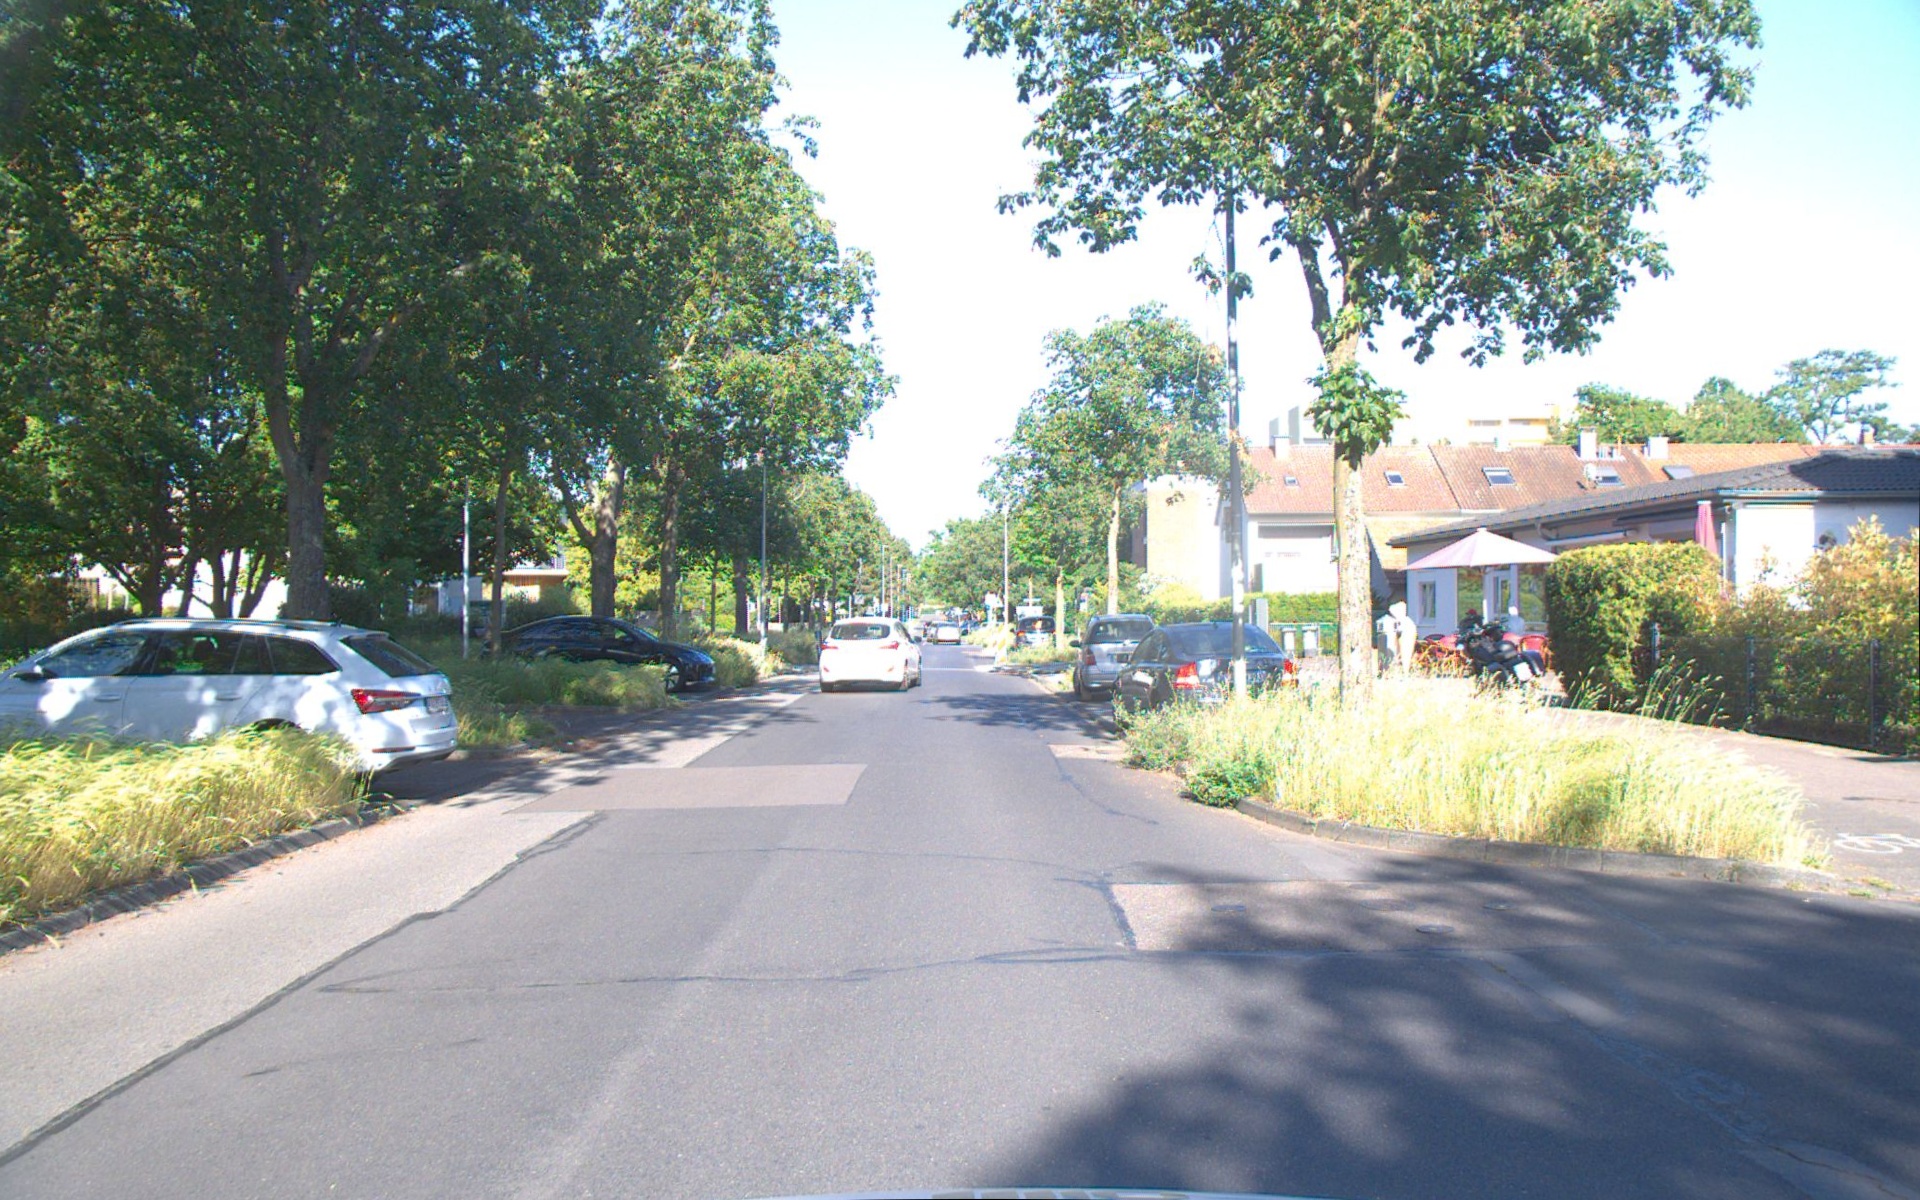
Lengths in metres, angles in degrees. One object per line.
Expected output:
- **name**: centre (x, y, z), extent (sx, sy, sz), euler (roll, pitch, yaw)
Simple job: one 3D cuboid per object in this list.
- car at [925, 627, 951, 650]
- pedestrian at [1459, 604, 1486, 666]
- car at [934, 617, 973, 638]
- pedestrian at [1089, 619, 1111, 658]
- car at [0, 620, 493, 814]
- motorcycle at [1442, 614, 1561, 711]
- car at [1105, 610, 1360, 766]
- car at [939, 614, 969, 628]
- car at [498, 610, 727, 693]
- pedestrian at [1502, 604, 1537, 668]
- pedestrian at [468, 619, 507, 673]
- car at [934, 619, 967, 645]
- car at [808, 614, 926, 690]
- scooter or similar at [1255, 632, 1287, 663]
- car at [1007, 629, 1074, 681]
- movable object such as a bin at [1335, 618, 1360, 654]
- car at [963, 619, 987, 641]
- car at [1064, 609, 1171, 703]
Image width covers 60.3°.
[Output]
- **car**: centre (-1.620, 2.771, 119.959), extent (1.780, 1.534, 3.657), euler (3, -1, -1)
- **pedestrian**: centre (11.748, 0.798, 37.899), extent (0.430, 1.409, 0.639), euler (1, -1, 4)
- **car**: centre (-0.647, 2.786, 167.707), extent (3.907, 2.049, 1.999), euler (1, -2, -2)
- **pedestrian**: centre (7.467, 2.036, 88.167), extent (1.090, 2.049, 0.921), euler (0, -1, -1)
- **car**: centre (-6.634, 0.955, 14.325), extent (4.575, 1.530, 2.000), euler (0, -1, 0)
- **motorcycle**: centre (7.434, 0.822, 22.830), extent (0.801, 1.248, 2.351), euler (-1, 0, -1)
- **car**: centre (3.255, 1.016, 20.697), extent (1.956, 1.650, 4.375), euler (3, -1, -7)
- **car**: centre (-0.839, 2.816, 219.982), extent (3.908, 1.780, 1.999), euler (0, -1, -4)
- **car**: centre (-7.061, 1.051, 33.938), extent (4.279, 1.558, 1.807), euler (2, -1, -2)
- **pedestrian**: centre (12.831, 0.822, 37.950), extent (0.649, 1.433, 0.492), euler (-3, -2, 28)
- **pedestrian**: centre (-16.522, 1.605, 57.814), extent (1.205, 1.859, 1.543), euler (2, -2, -17)
- **car**: centre (-0.626, 2.062, 105.454), extent (1.953, 1.534, 3.657), euler (3, -1, -1)
- **car**: centre (-1.881, 1.046, 34.769), extent (1.952, 1.480, 4.226), euler (0, -1, 4)
- **scooter or similar**: centre (8.978, 1.357, 47.822), extent (0.361, 0.873, 1.407), euler (0, -1, -14)
- **car**: centre (2.855, 1.967, 59.341), extent (1.954, 1.758, 3.997), euler (-2, -2, -3)
- **movable object such as a bin**: centre (11.634, 1.087, 49.654), extent (0.483, 1.050, 0.746), euler (-3, -1, -2)
- **car**: centre (1.165, 2.296, 127.366), extent (1.698, 1.534, 3.657), euler (3, -1, -1)
- **car**: centre (3.024, 1.064, 32.438), extent (1.577, 1.650, 4.380), euler (3, -1, 0)
